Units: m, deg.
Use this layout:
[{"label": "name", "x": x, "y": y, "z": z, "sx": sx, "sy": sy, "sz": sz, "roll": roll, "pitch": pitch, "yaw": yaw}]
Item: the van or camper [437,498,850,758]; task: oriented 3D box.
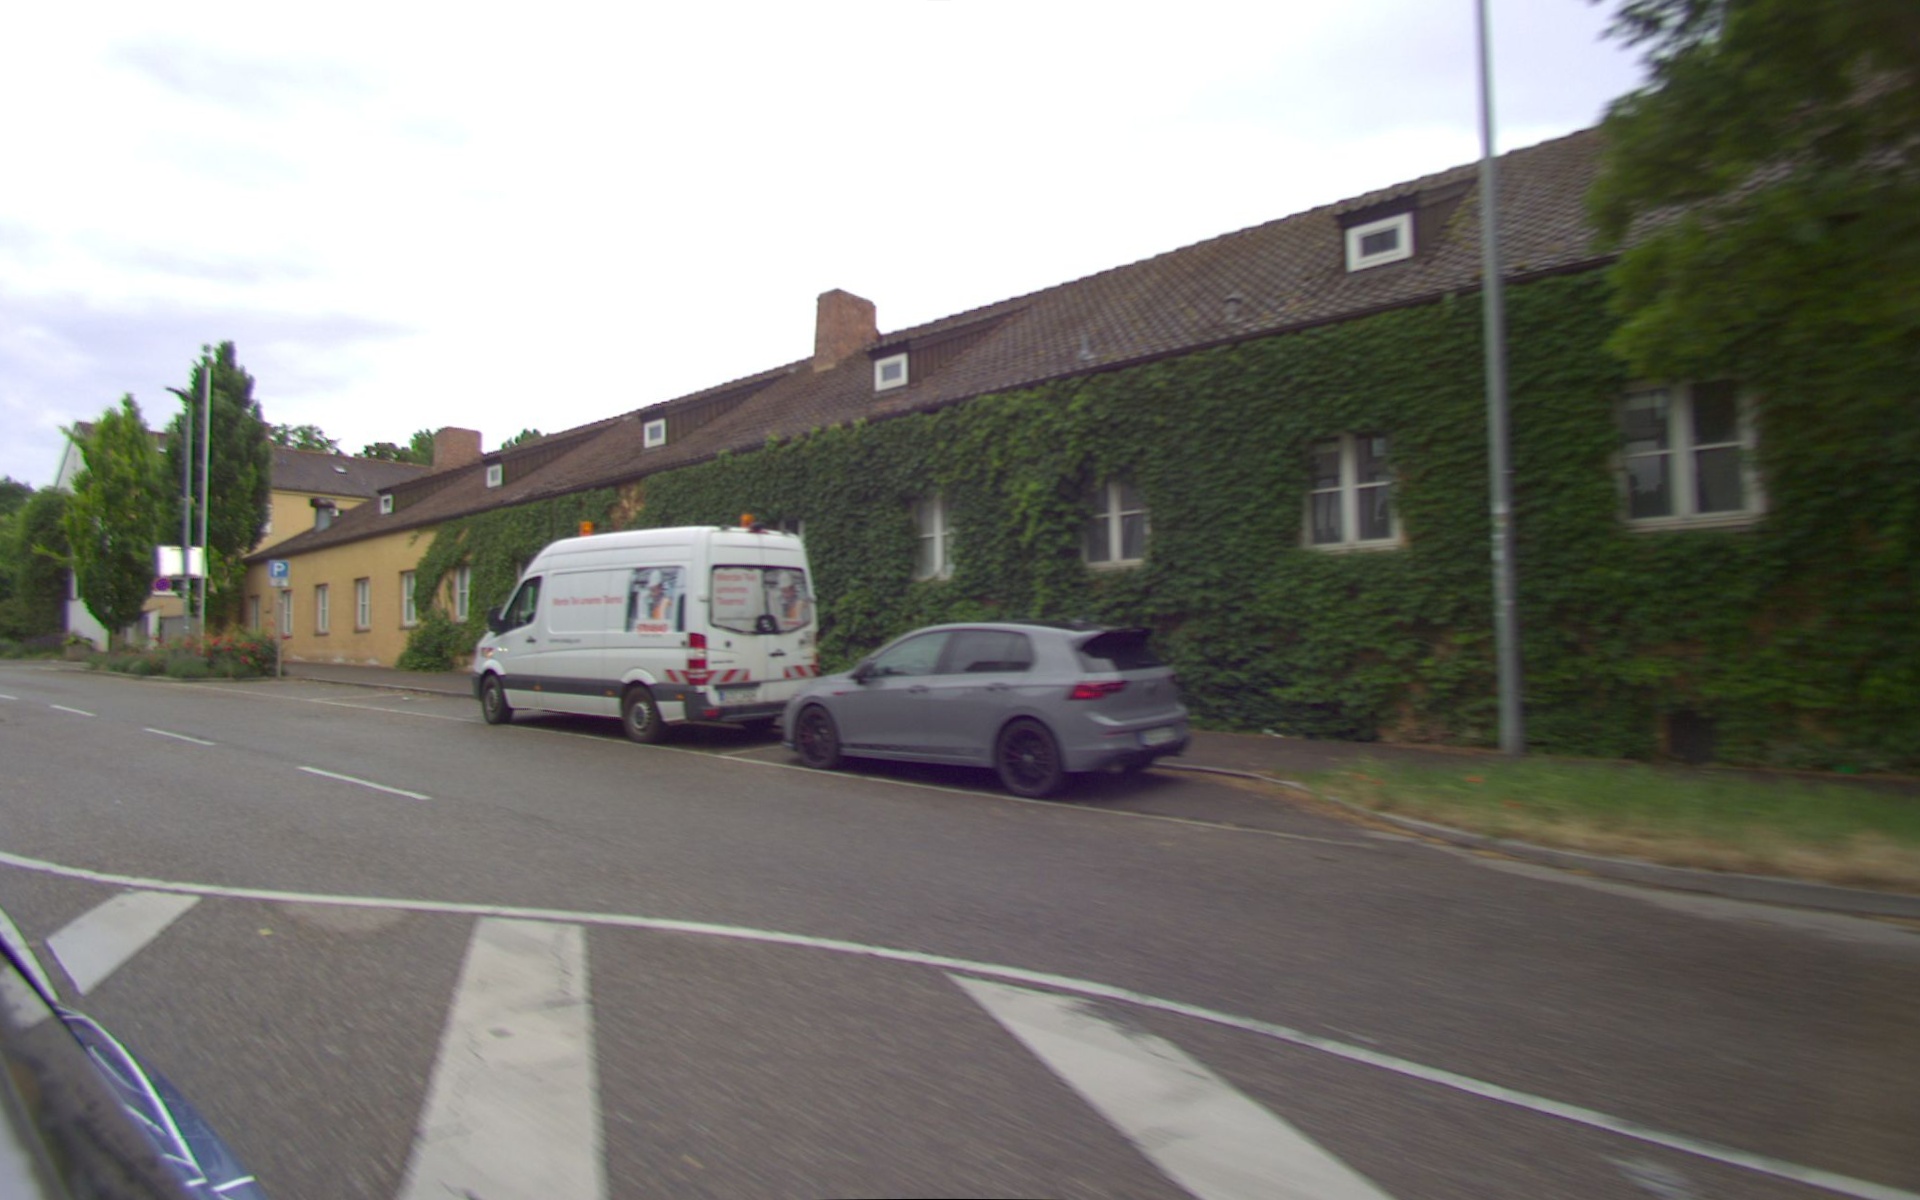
[{"label": "van or camper", "x": -4.497, "y": 0.369, "z": 13.674, "sx": 6.135, "sy": 2.786, "sz": 2.317, "roll": -2, "pitch": -1, "yaw": 39}]

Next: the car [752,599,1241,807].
[{"label": "car", "x": 0.182, "y": 0.792, "z": 9.685, "sx": 4.420, "sy": 1.524, "sz": 1.973, "roll": -1, "pitch": 0, "yaw": 41}]
